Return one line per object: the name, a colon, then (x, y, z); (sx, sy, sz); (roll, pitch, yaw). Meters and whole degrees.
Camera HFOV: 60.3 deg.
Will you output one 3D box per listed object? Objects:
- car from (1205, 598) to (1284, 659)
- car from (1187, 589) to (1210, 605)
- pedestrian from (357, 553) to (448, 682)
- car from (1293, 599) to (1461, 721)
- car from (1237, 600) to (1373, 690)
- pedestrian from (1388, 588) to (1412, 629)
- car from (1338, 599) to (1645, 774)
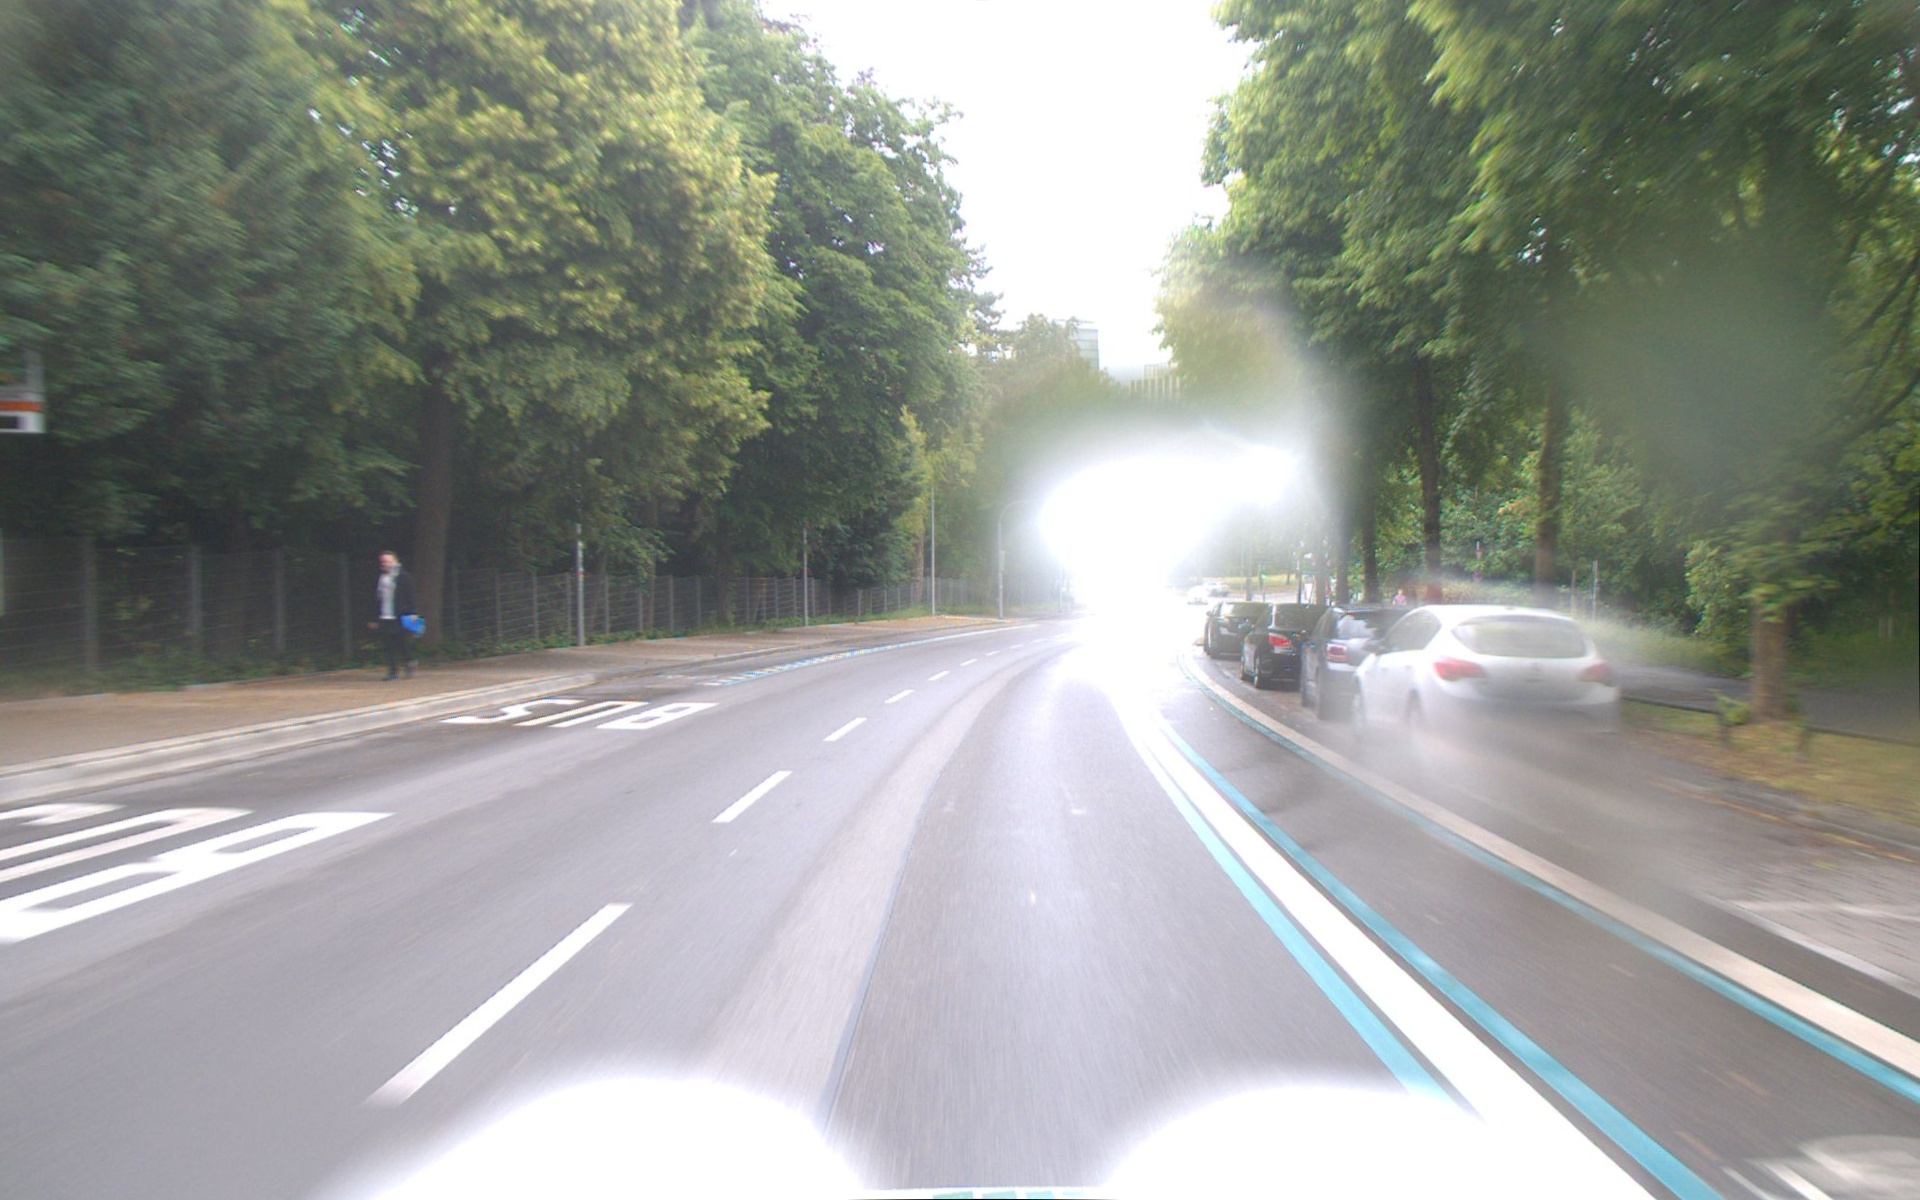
car: (7.399, 0.705, 43.350); (1.663, 1.445, 4.766); (2, 0, 6)
car: (22.754, -0.297, 157.822); (1.804, 1.482, 4.504); (1, 1, 13)
pedestrian: (-7.859, 0.240, 23.365); (0.869, 1.763, 1.146); (1, 0, -1)
car: (5.575, 0.745, 22.561); (1.648, 1.453, 4.321); (2, 0, 7)
car: (6.053, 0.740, 29.517); (1.744, 1.432, 4.848); (2, 0, 4)
pedestrian: (19.556, 0.373, 73.594); (0.868, 1.763, 1.147); (1, 0, 8)
car: (5.091, 0.744, 16.528); (1.821, 1.453, 4.652); (2, 0, 4)
